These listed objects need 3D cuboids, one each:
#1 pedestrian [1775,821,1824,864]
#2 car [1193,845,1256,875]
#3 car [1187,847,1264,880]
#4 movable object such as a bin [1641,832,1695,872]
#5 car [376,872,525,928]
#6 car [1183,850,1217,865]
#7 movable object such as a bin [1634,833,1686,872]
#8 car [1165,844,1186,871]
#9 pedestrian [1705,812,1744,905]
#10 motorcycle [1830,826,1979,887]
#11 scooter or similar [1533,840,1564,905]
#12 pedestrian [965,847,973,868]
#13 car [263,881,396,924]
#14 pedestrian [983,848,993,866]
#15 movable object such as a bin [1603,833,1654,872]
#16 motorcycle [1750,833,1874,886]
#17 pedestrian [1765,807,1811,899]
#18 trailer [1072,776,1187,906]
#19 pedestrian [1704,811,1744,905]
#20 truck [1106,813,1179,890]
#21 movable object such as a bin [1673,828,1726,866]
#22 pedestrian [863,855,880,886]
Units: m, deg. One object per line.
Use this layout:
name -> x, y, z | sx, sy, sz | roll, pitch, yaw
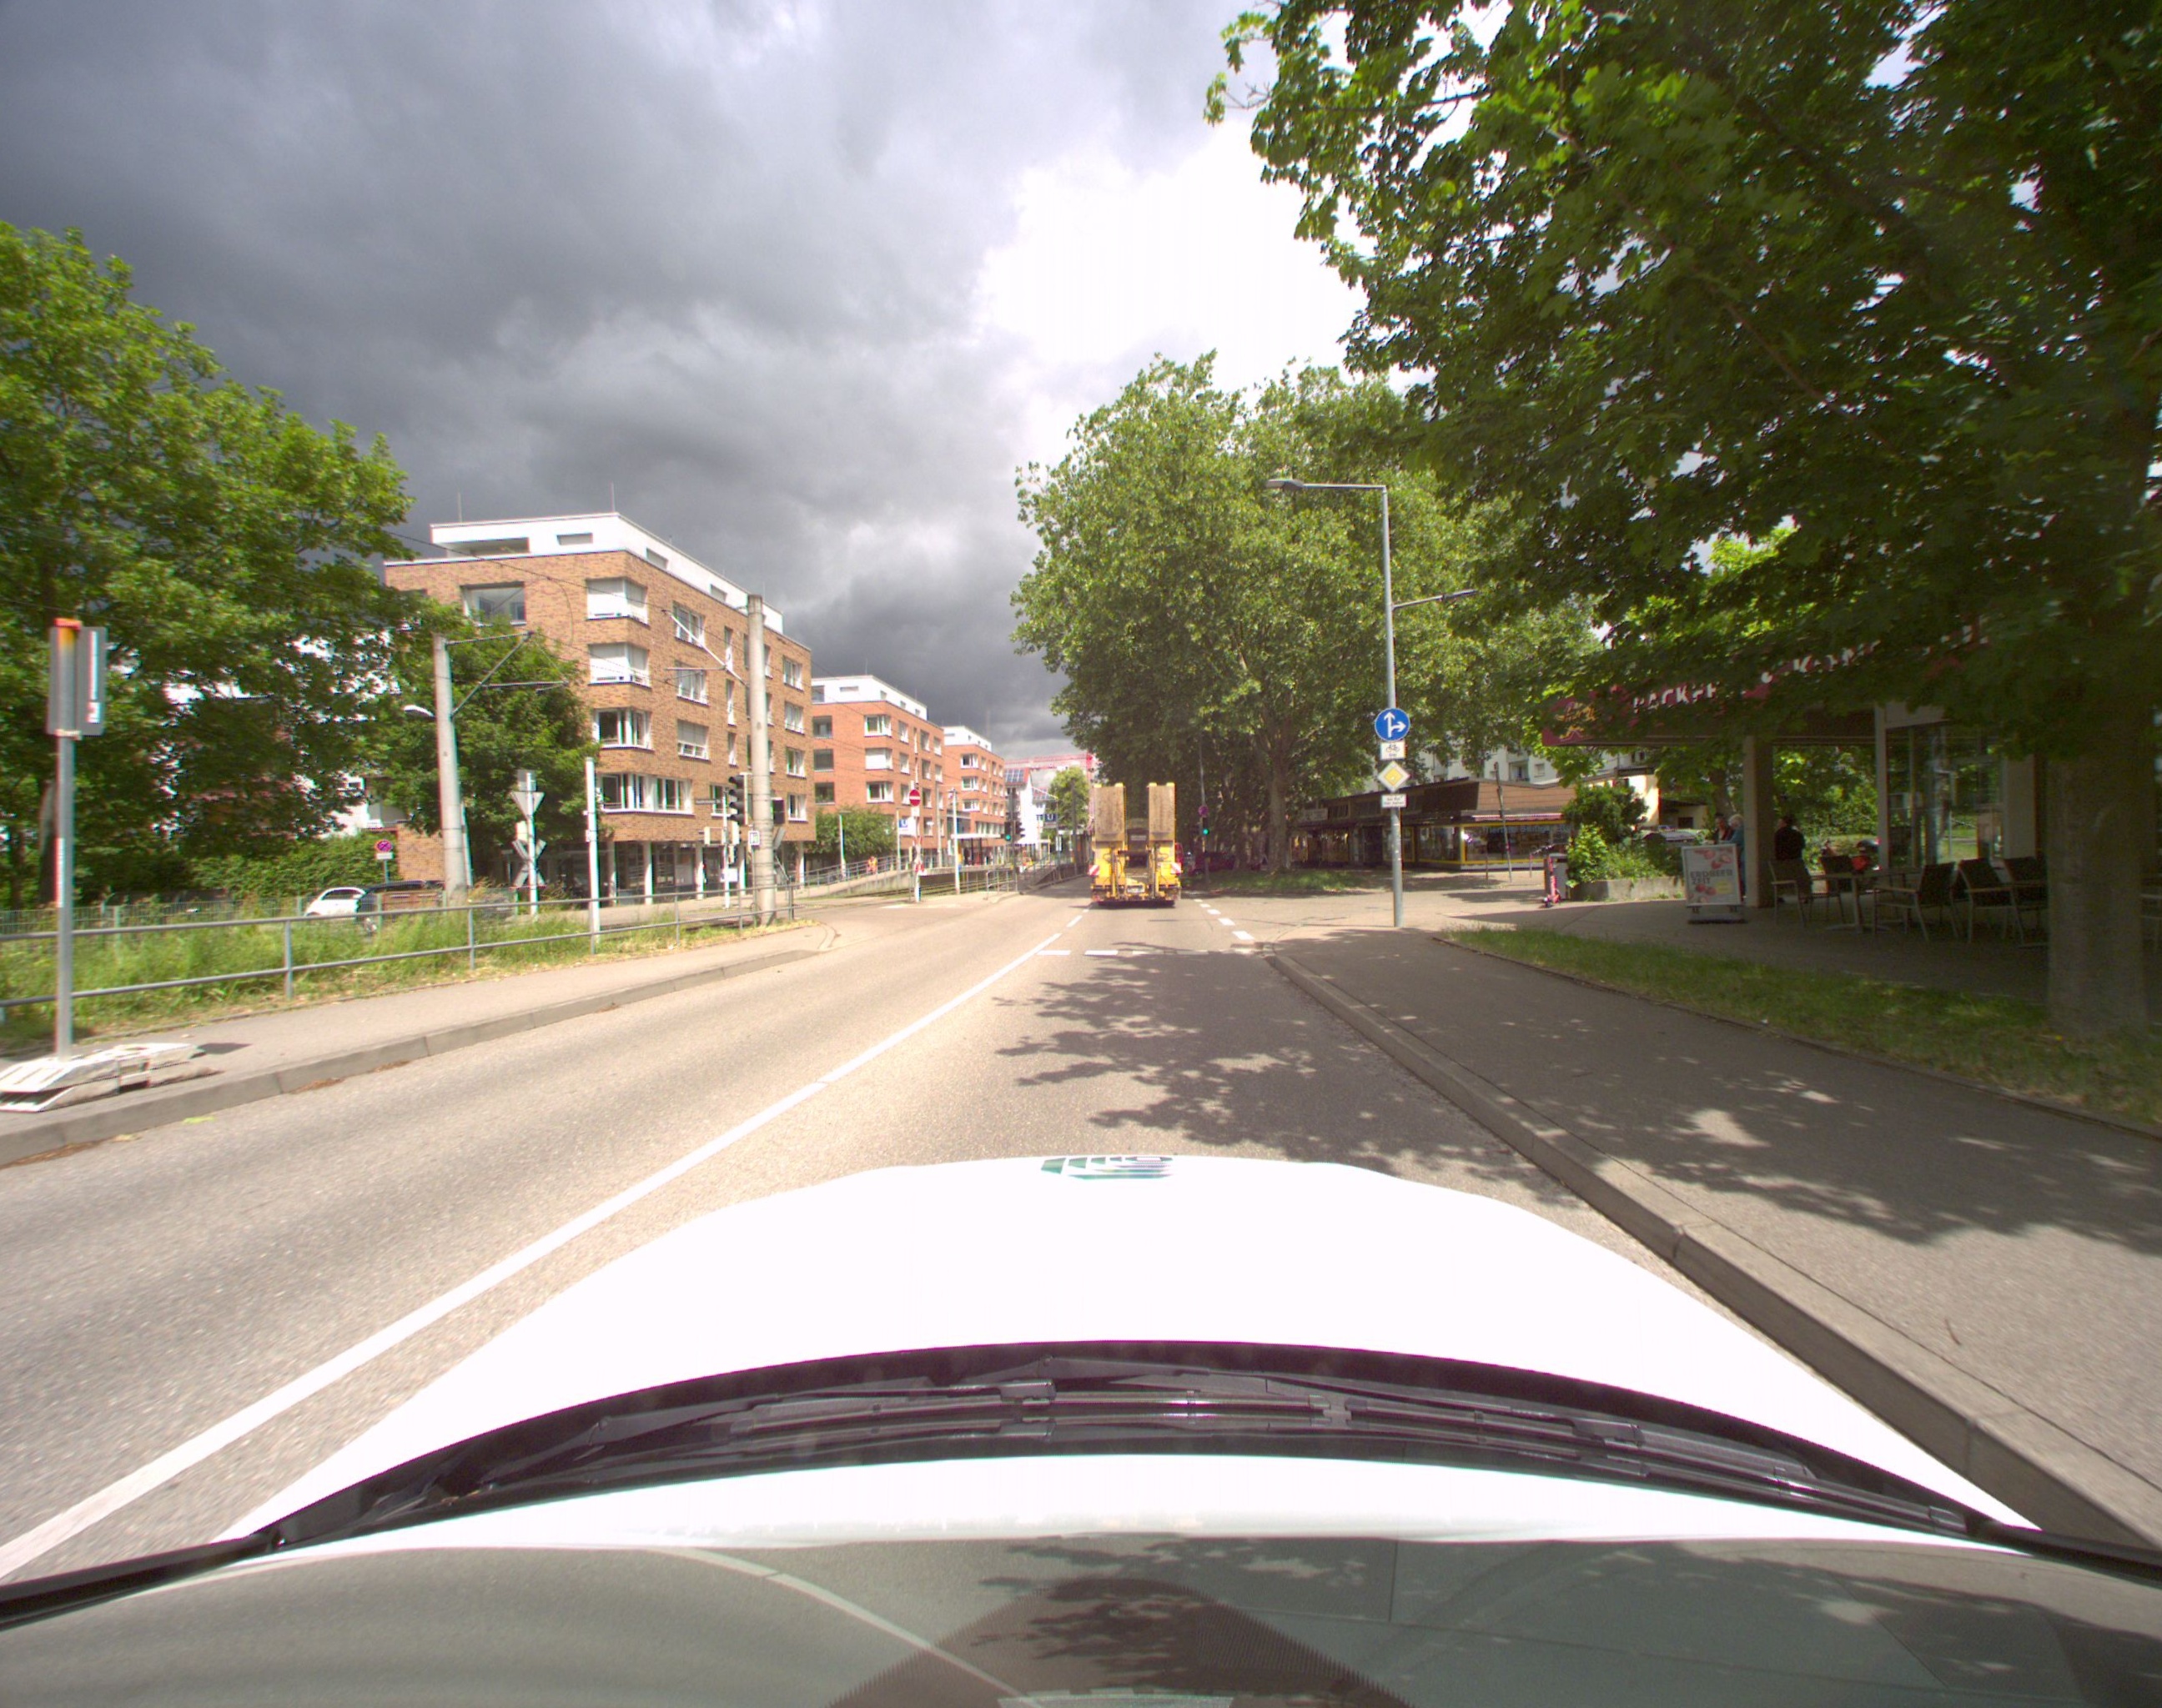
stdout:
pedestrian -> 26.036, -0.433, 29.528 | 0.805, 1.475, 1.101 | -2, 3, 0
car -> 8.579, 0.379, 48.856 | 3.395, 1.514, 1.610 | -5, -1, 1
car -> 7.846, 0.533, 44.500 | 4.007, 1.611, 1.734 | -2, 0, 7
movable object such as a bin -> 21.956, -0.082, 30.481 | 1.178, 1.412, 1.145 | -3, 2, 1
car -> -20.353, 1.474, 26.362 | 3.653, 1.476, 1.591 | -4, -1, 7
car -> 14.354, 0.420, 98.343 | 3.819, 1.562, 1.619 | -3, -1, -2
movable object such as a bin -> 22.774, -0.081, 32.075 | 1.171, 1.412, 1.212 | -3, 2, 1
car -> 9.590, 0.387, 83.189 | 1.895, 2.581, 6.844 | -3, -1, 5
pedestrian -> 11.621, 0.077, 14.705 | 0.445, 1.632, 0.396 | -2, -1, -37
motorcycle -> 17.117, 0.077, 16.974 | 0.744, 1.195, 2.113 | -2, 0, -41
scooter or similar -> 9.737, 0.375, 16.954 | 0.372, 1.307, 1.239 | -3, -1, 37
pedestrian -> -9.242, 0.291, 67.081 | 0.532, 1.764, 0.528 | -2, -1, 2
car -> -28.206, 1.811, 30.638 | 3.517, 1.399, 1.596 | -2, 0, 2
pedestrian -> -8.415, 0.268, 73.426 | 0.747, 1.629, 0.817 | -1, -1, 5
movable object such as a bin -> 21.546, -0.068, 32.047 | 1.171, 1.412, 1.212 | -3, 2, 1
motorcycle -> 17.524, 0.148, 19.567 | 0.744, 1.195, 2.112 | -2, -1, -43
pedestrian -> 12.301, -0.013, 14.187 | 0.504, 1.551, 0.536 | -3, -1, 36
trailer -> 1.920, -0.322, 28.143 | 3.138, 3.552, 11.115 | -1, 0, 6
pedestrian -> 11.306, 0.065, 14.321 | 0.445, 1.632, 0.396 | -2, -1, -37
truck -> 2.975, -0.073, 37.628 | 2.974, 3.135, 7.901 | -1, 0, 6
movable object such as a bin -> 23.999, -0.282, 31.644 | 1.178, 1.412, 1.145 | -3, 2, 1
pedestrian -> -12.850, 1.006, 49.969 | 0.740, 1.825, 0.830 | -2, 0, 4
